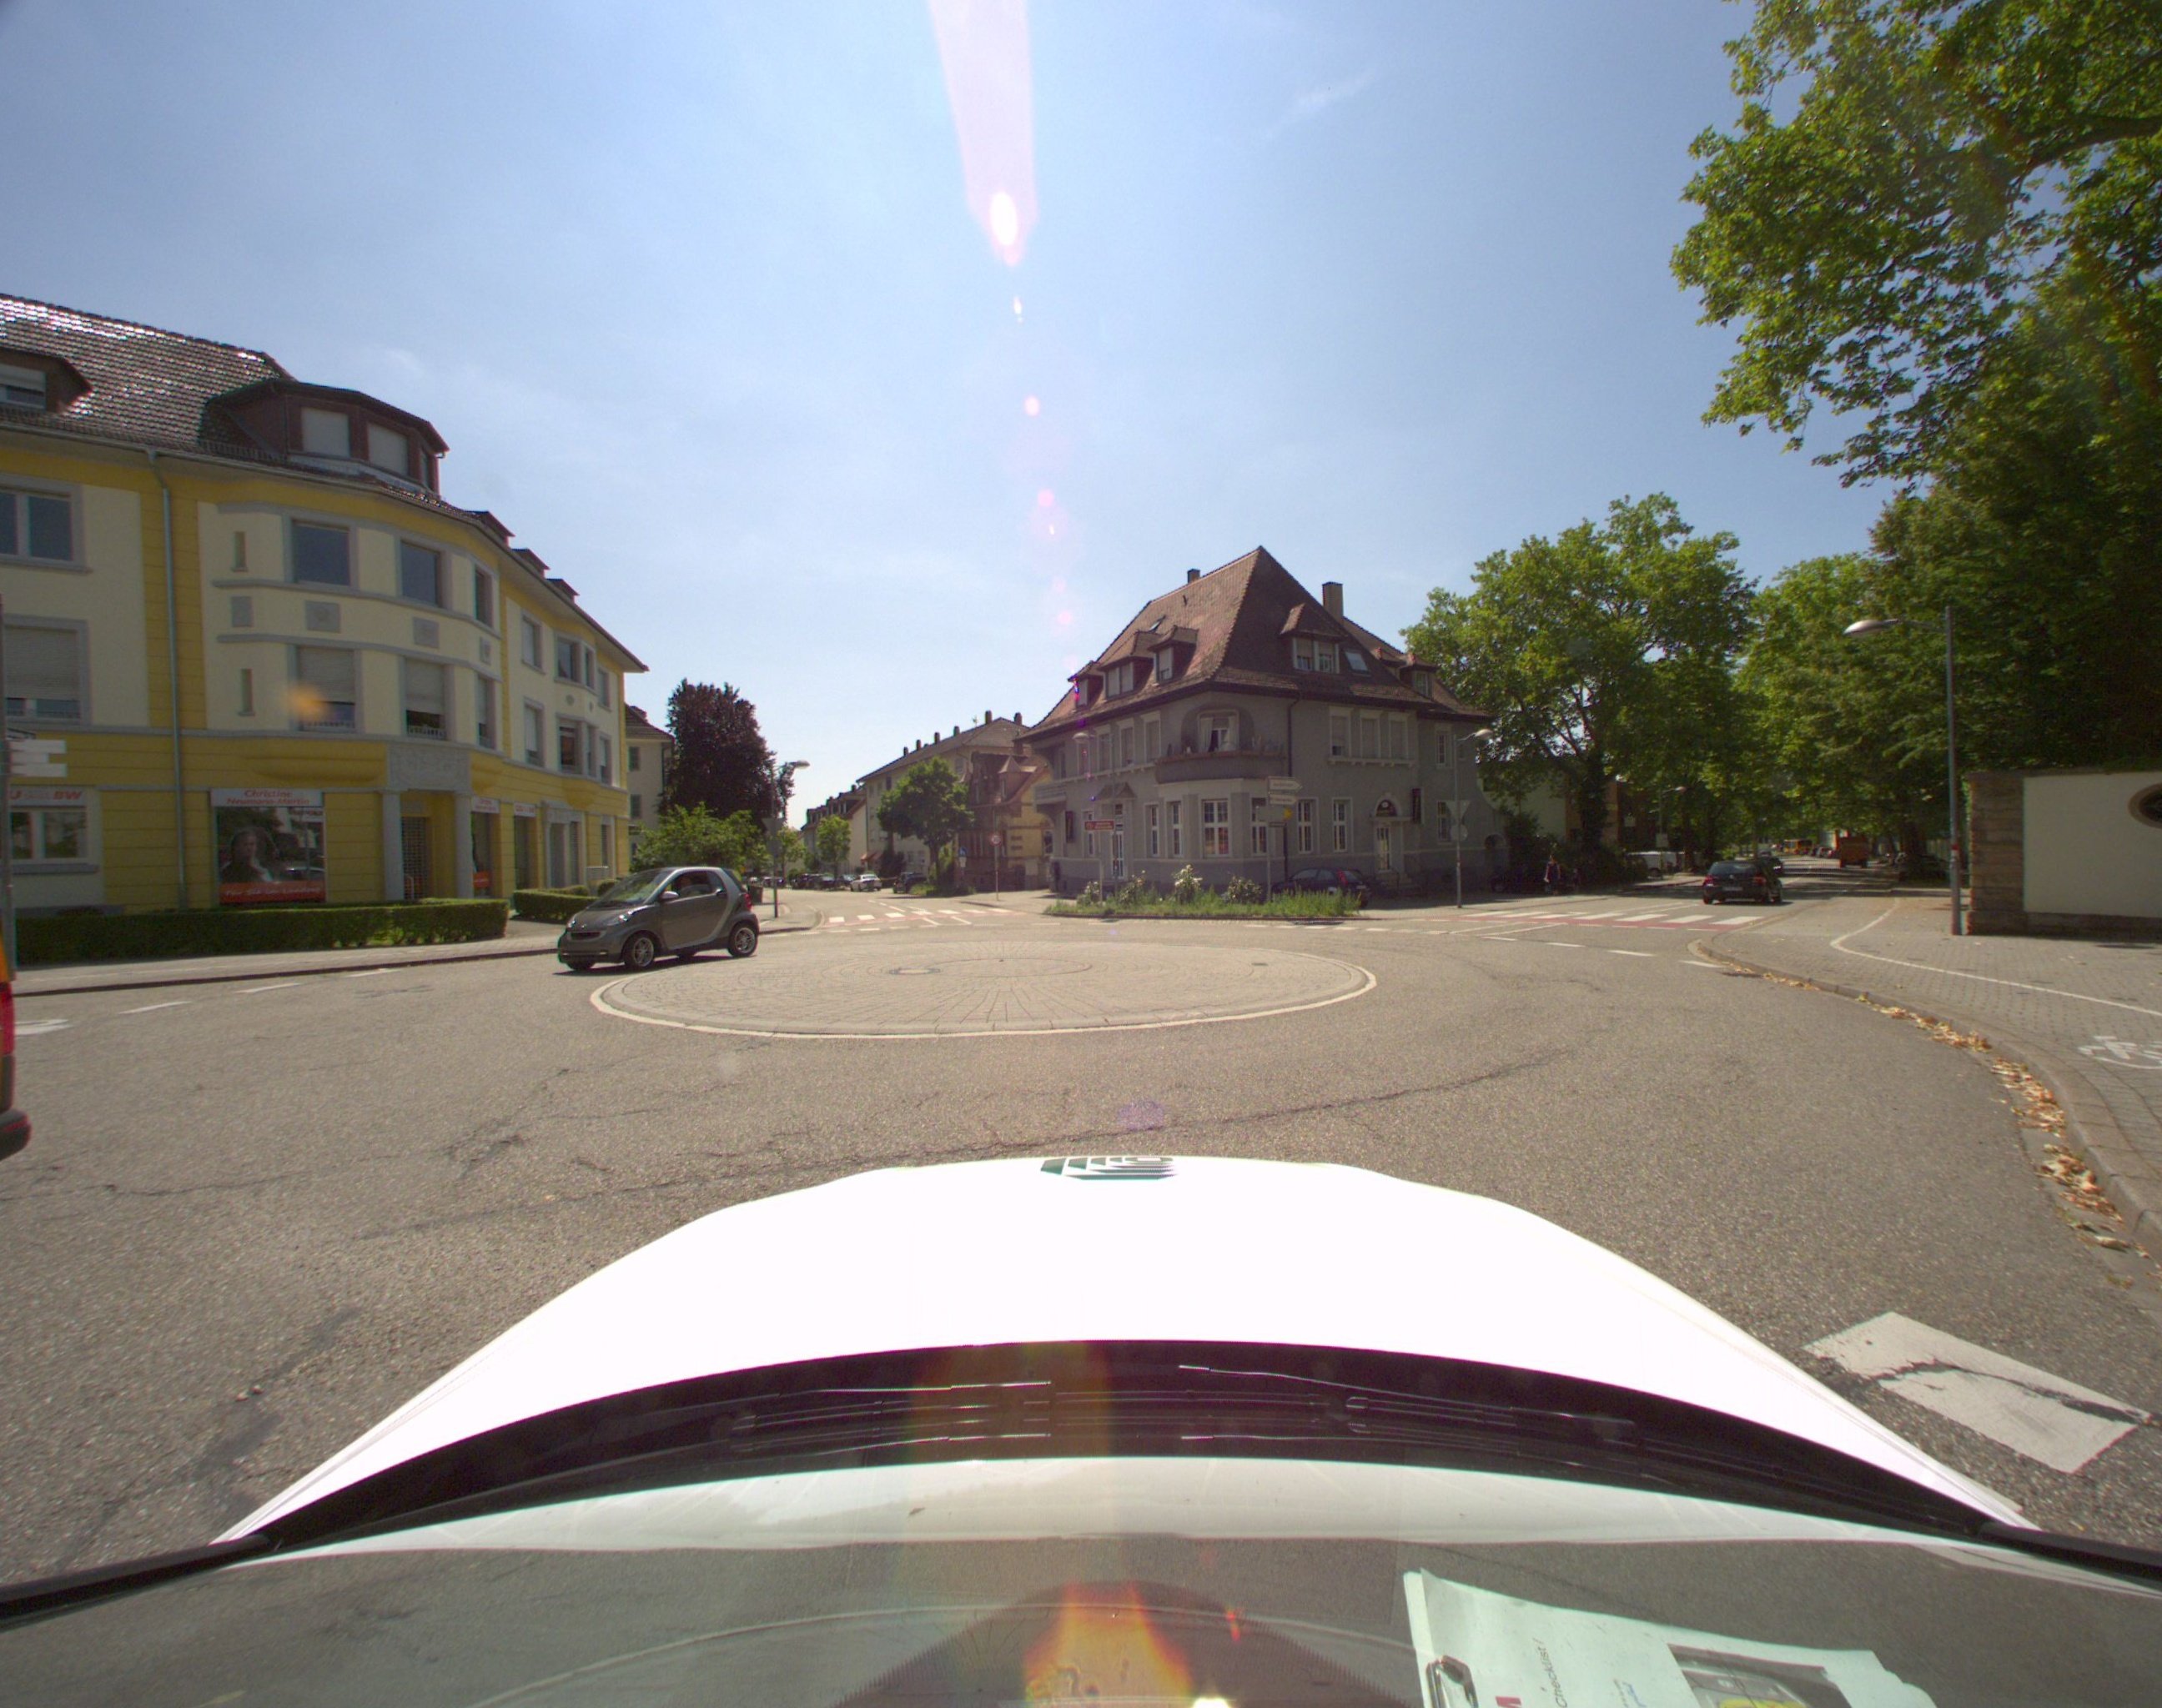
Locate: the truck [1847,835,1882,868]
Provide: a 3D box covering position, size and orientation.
[{"bbox_3d":[78.134,-0.206,81.183,5.802,3.134,2.348,2,-2,-45],"label":"truck"}]

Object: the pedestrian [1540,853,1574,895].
[{"bbox_3d":[20.106,0.840,34.405,1.117,1.742,0.865,0,-2,-38],"label":"pedestrian"}]

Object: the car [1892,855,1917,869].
[{"bbox_3d":[91.043,0.873,90.043,1.750,1.466,3.898,-3,-2,44],"label":"car"}]

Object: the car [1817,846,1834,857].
[{"bbox_3d":[122.860,-0.409,134.444,1.861,1.686,4.024,-2,-2,41],"label":"car"}]

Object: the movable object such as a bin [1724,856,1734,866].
[{"bbox_3d":[65.756,0.714,82.598,0.623,1.048,0.618,0,-1,-38],"label":"movable object such as a bin"}]

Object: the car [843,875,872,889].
[{"bbox_3d":[-24.688,3.100,89.857,2.006,1.509,4.376,0,-1,-30],"label":"car"}]

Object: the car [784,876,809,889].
[{"bbox_3d":[-34.529,3.433,98.800,2.006,1.509,4.376,0,-1,-30],"label":"car"}]

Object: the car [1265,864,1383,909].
[{"bbox_3d":[8.528,1.117,28.861,1.731,1.460,3.752,0,-1,-34],"label":"car"}]

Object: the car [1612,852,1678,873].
[{"bbox_3d":[43.896,0.635,63.410,3.950,1.515,1.879,1,0,43],"label":"car"}]

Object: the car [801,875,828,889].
[{"bbox_3d":[-29.526,3.117,90.118,2.006,1.509,4.376,0,-1,-30],"label":"car"}]

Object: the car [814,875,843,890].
[{"bbox_3d":[-26.378,2.973,85.058,2.006,1.509,4.376,0,-1,-30],"label":"car"}]

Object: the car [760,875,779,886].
[{"bbox_3d":[-45.025,3.831,117.675,2.006,1.509,4.376,0,-1,-30],"label":"car"}]

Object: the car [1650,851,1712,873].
[{"bbox_3d":[51.901,0.664,70.463,4.090,1.804,1.915,1,0,43],"label":"car"}]

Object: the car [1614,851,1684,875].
[{"bbox_3d":[45.613,0.675,65.427,4.382,1.804,1.915,1,0,43],"label":"car"}]

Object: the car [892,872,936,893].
[{"bbox_3d":[-12.643,2.127,61.518,2.006,1.509,4.376,0,-1,-30],"label":"car"}]

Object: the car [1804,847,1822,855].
[{"bbox_3d":[135.089,-0.626,150.308,1.749,1.374,3.753,-3,-2,33],"label":"car"}]

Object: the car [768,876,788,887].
[{"bbox_3d":[-41.882,3.823,112.516,2.006,1.509,4.376,0,-1,-30],"label":"car"}]

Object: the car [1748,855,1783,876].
[{"bbox_3d":[49.648,0.811,59.046,1.752,1.426,4.419,-2,-2,42],"label":"car"}]

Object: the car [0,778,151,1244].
[{"bbox_3d":[-4.930,0.620,1.468,1.949,1.960,4.989,1,-1,-18],"label":"car"}]

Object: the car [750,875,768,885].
[{"bbox_3d":[-50.302,4.064,127.230,2.005,1.488,3.962,1,-2,-29],"label":"car"}]

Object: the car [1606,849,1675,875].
[{"bbox_3d":[41.111,0.542,59.855,3.950,1.792,1.879,1,0,43],"label":"car"}]

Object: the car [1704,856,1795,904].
[{"bbox_3d":[22.269,0.813,27.066,4.080,1.447,1.696,0,-1,-42],"label":"car"}]

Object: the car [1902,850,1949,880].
[{"bbox_3d":[47.996,0.606,46.270,4.807,1.557,1.725,-1,-2,-43],"label":"car"}]

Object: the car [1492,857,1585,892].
[{"bbox_3d":[21.387,0.970,38.169,1.731,1.547,3.356,0,-1,-34],"label":"car"}]

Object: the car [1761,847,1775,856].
[{"bbox_3d":[132.748,-0.500,157.334,1.974,1.666,4.025,-2,-2,40],"label":"car"}]

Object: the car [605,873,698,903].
[{"bbox_3d":[-24.512,1.911,46.536,4.438,1.509,1.978,0,-1,-36],"label":"car"}]

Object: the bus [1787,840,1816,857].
[{"bbox_3d":[144.107,-1.024,163.054,2.637,3.151,11.268,-2,-1,33],"label":"bus"}]

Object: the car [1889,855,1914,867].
[{"bbox_3d":[96.500,0.797,95.838,1.749,1.374,3.753,-3,-2,41],"label":"car"}]

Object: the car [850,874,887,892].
[{"bbox_3d":[-18.794,2.520,71.868,2.006,1.509,4.376,0,-1,-30],"label":"car"}]

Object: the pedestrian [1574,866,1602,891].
[{"bbox_3d":[22.737,1.092,36.553,0.901,1.122,0.748,0,-2,-35],"label":"pedestrian"}]

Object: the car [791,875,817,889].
[{"bbox_3d":[-32.223,3.245,94.692,2.006,1.509,4.376,0,-1,-30],"label":"car"}]

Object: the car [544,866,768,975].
[{"bbox_3d":[-6.697,0.970,13.076,1.550,1.530,2.805,-2,-1,26],"label":"car"}]

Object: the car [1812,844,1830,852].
[{"bbox_3d":[130.519,-1.072,143.655,1.749,1.374,3.753,-3,-2,33],"label":"car"}]
